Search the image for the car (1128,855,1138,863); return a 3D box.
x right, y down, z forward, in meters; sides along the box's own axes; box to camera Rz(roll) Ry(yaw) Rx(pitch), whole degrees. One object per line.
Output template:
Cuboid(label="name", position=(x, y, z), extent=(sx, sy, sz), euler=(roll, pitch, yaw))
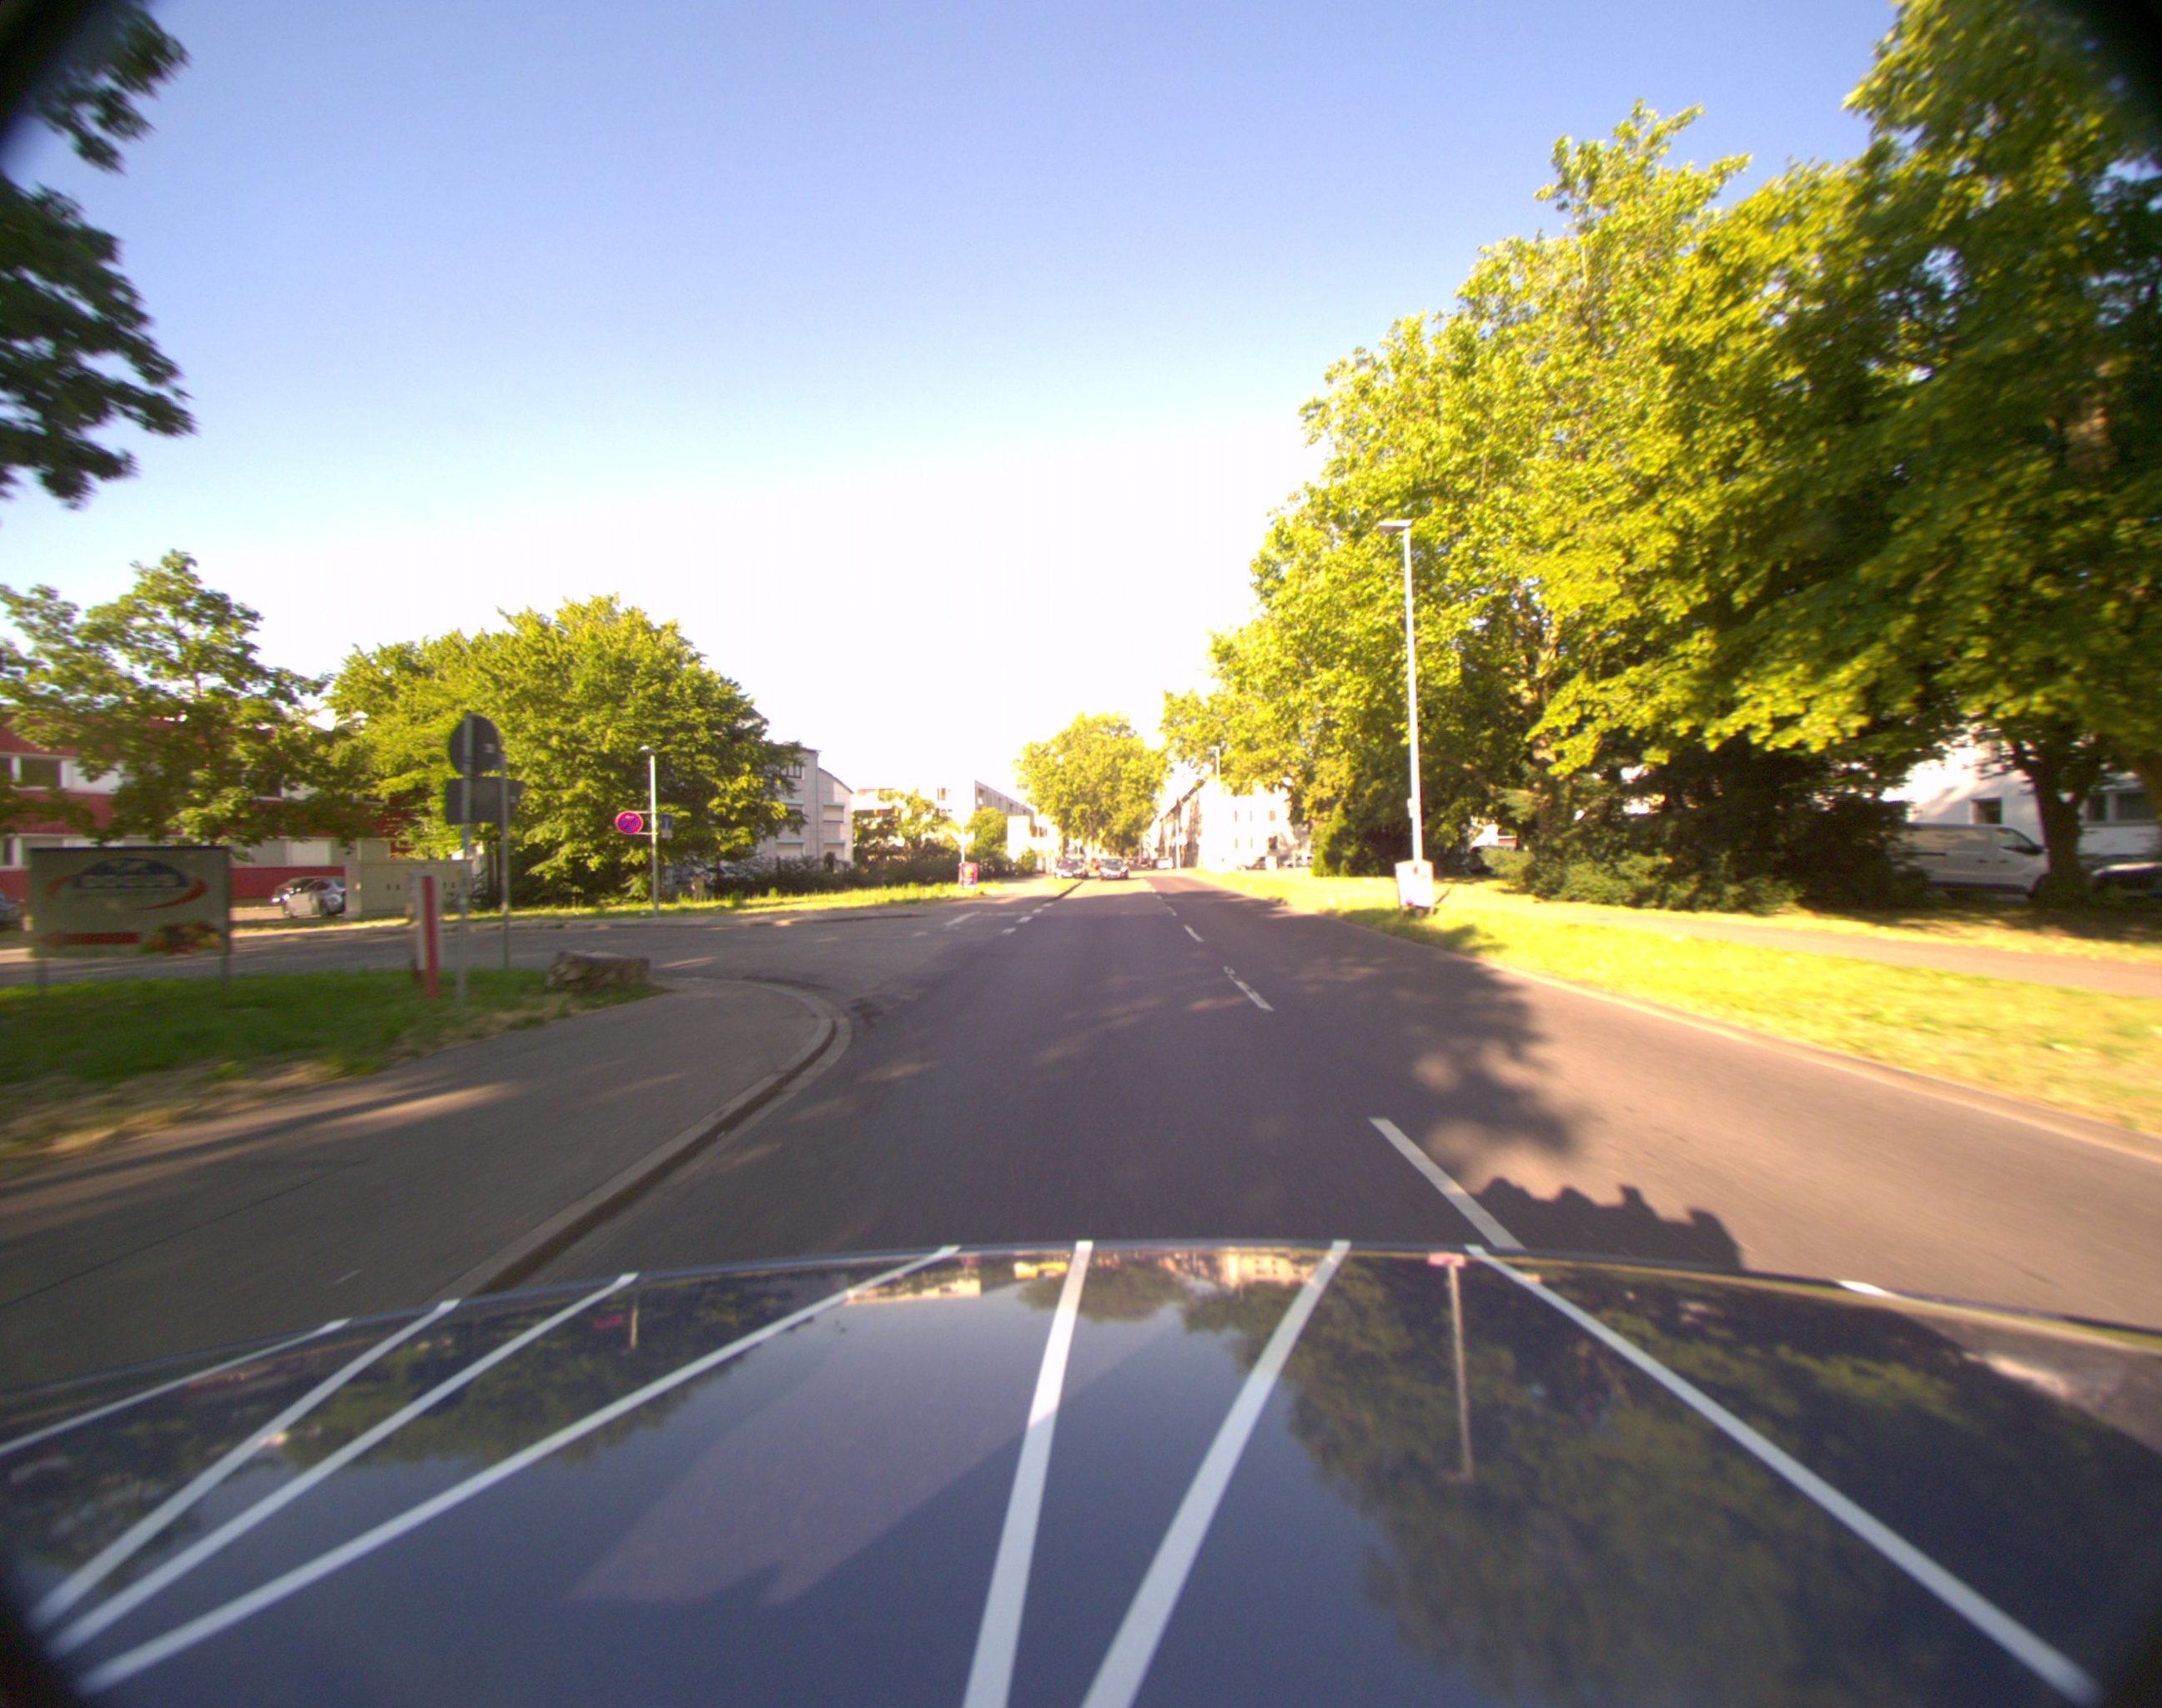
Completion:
Cuboid(label="car", position=(10.527, 0.939, 154.545), extent=(1.900, 1.581, 4.071), euler=(0, 0, 5))

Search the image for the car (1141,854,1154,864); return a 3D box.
Cuboid(label="car", position=(11.189, 0.840, 127.705), extent=(1.869, 1.603, 4.087), euler=(-2, 0, 1))

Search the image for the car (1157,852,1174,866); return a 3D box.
Cuboid(label="car", position=(9.680, 0.589, 86.777), extent=(1.765, 1.475, 4.109), euler=(-3, 0, 5))

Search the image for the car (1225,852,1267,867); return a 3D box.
Cuboid(label="car", position=(16.560, 0.535, 76.336), extent=(3.992, 1.410, 1.916), euler=(-1, 0, 15))

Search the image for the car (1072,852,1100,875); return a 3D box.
Cuboid(label="car", position=(0.430, 0.715, 59.894), extent=(1.998, 1.749, 4.918), euler=(-1, 0, 3))

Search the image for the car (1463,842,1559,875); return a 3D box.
Cuboid(label="car", position=(22.436, 0.220, 39.738), extent=(3.997, 1.674, 1.727), euler=(0, 1, -1))

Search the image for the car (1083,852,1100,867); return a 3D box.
Cuboid(label="car", position=(1.190, 0.630, 85.127), extent=(1.601, 1.680, 4.338), euler=(0, 0, 4))

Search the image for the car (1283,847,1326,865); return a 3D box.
Cuboid(label="car", position=(21.929, 0.211, 74.711), extent=(3.992, 1.552, 1.867), euler=(-2, 0, 16))

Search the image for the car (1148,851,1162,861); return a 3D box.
Cuboid(label="car", position=(10.827, 0.311, 111.206), extent=(1.869, 1.475, 4.088), euler=(-1, 0, 5))

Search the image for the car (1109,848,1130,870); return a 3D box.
Cuboid(label="car", position=(3.623, 0.451, 72.287), extent=(1.934, 2.002, 3.999), euler=(-1, 1, 1))

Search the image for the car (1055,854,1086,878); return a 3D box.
Cuboid(label="car", position=(-0.644, 0.801, 51.362), extent=(1.786, 1.506, 4.690), euler=(0, 0, 3))

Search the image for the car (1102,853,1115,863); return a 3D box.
Cuboid(label="car", position=(4.524, 0.598, 124.083), extent=(1.869, 1.603, 4.088), euler=(0, 0, 4))

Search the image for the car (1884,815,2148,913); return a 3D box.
Cuboid(label="car", position=(21.558, 0.235, 17.636), extent=(3.999, 2.032, 1.908), euler=(-2, -1, -5))

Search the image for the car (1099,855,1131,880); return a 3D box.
Cuboid(label="car", position=(2.120, 0.839, 48.352), extent=(1.869, 1.471, 4.087), euler=(-2, 0, 1))

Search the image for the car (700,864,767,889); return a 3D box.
Cuboid(label="car", position=(-23.148, 1.474, 50.610), extent=(3.990, 1.565, 1.912), euler=(0, 2, 26))

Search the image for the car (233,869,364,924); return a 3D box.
Cuboid(label="car", position=(-26.092, 1.387, 25.311), extent=(4.434, 1.584, 2.003), euler=(-2, 1, 31))

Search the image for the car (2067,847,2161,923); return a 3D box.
Cuboid(label="car", position=(21.606, 0.544, 14.335), extent=(3.940, 1.374, 1.692), euler=(-1, 0, -2))

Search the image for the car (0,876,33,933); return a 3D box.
Cuboid(label="car", position=(-30.454, 1.445, 20.708), extent=(4.656, 1.467, 1.792), euler=(-3, 0, 31))
